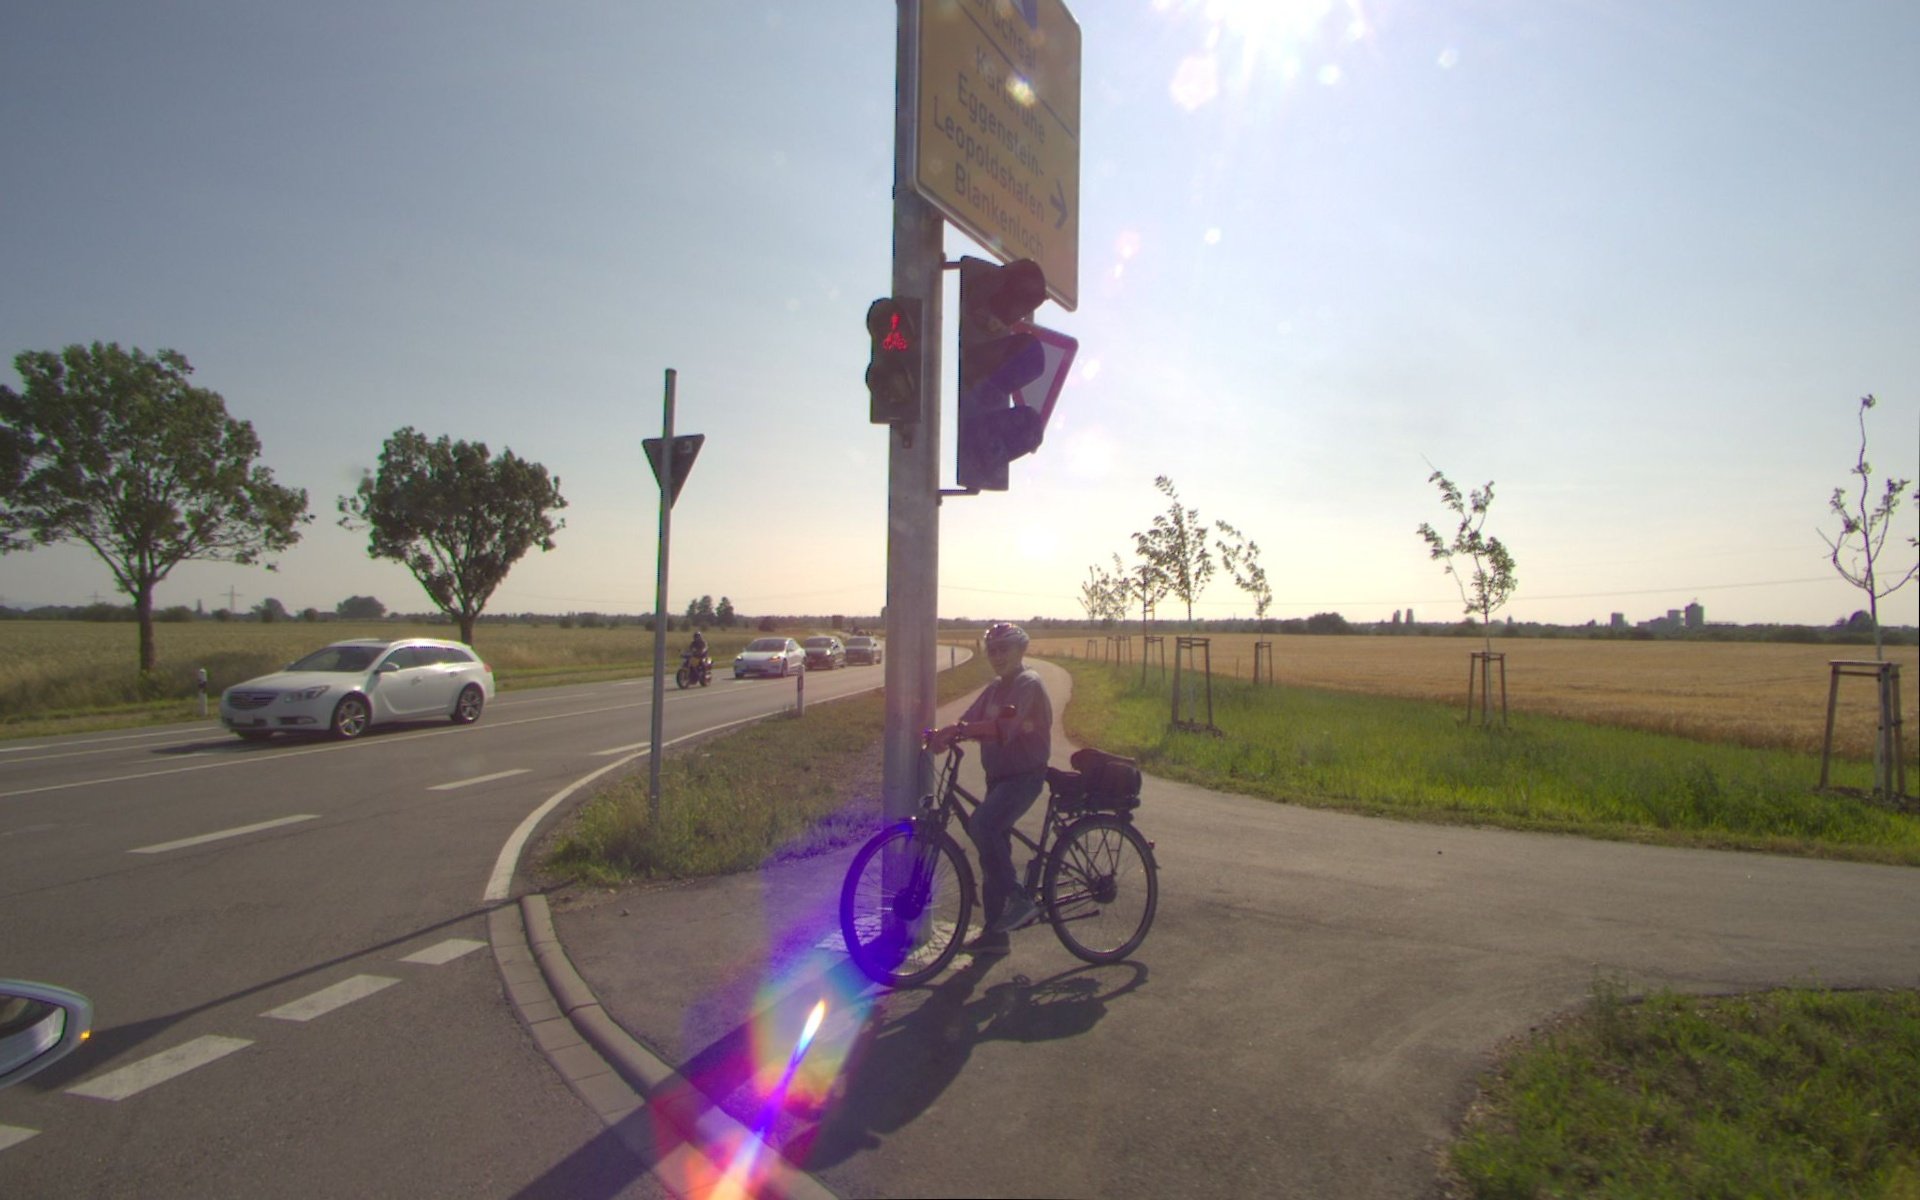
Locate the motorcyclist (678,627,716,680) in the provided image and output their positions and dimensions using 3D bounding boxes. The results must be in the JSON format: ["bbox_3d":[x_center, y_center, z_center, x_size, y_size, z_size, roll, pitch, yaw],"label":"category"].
[{"bbox_3d":[-7.831,1.576,29.845,0.668,1.535,1.181,0,-1,8],"label":"motorcyclist"}]

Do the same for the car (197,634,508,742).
[{"bbox_3d":[-9.707,1.327,16.555,1.731,1.511,4.708,-1,-2,10],"label":"car"}]

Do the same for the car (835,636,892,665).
[{"bbox_3d":[-4.954,2.602,52.069,1.860,1.454,4.798,0,-2,8],"label":"car"}]

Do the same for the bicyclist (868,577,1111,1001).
[{"bbox_3d":[0.146,0.843,4.760,0.906,1.786,0.616,5,-4,-33],"label":"bicyclist"}]

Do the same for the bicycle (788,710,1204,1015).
[{"bbox_3d":[0.228,1.144,4.781,1.920,1.165,0.677,5,-5,-33],"label":"bicycle"}]

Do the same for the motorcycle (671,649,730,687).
[{"bbox_3d":[-7.767,2.020,30.116,0.882,1.057,2.429,0,-1,7],"label":"motorcycle"}]

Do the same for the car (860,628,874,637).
[{"bbox_3d":[-20.482,7.069,219.697,1.816,1.857,4.455,4,-2,-21],"label":"car"}]

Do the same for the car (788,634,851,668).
[{"bbox_3d":[-6.269,2.276,45.196,1.859,1.479,4.307,0,-2,6],"label":"car"}]

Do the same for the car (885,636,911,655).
[{"bbox_3d":[-4.768,3.471,77.338,1.659,1.421,4.002,-1,-2,0],"label":"car"}]

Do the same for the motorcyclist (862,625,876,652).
[{"bbox_3d":[-5.192,2.211,57.193,0.667,1.514,0.847,0,-1,6],"label":"motorcyclist"}]

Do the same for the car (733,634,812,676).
[{"bbox_3d":[-6.982,2.030,37.743,1.859,1.485,4.278,0,-2,5],"label":"car"}]
